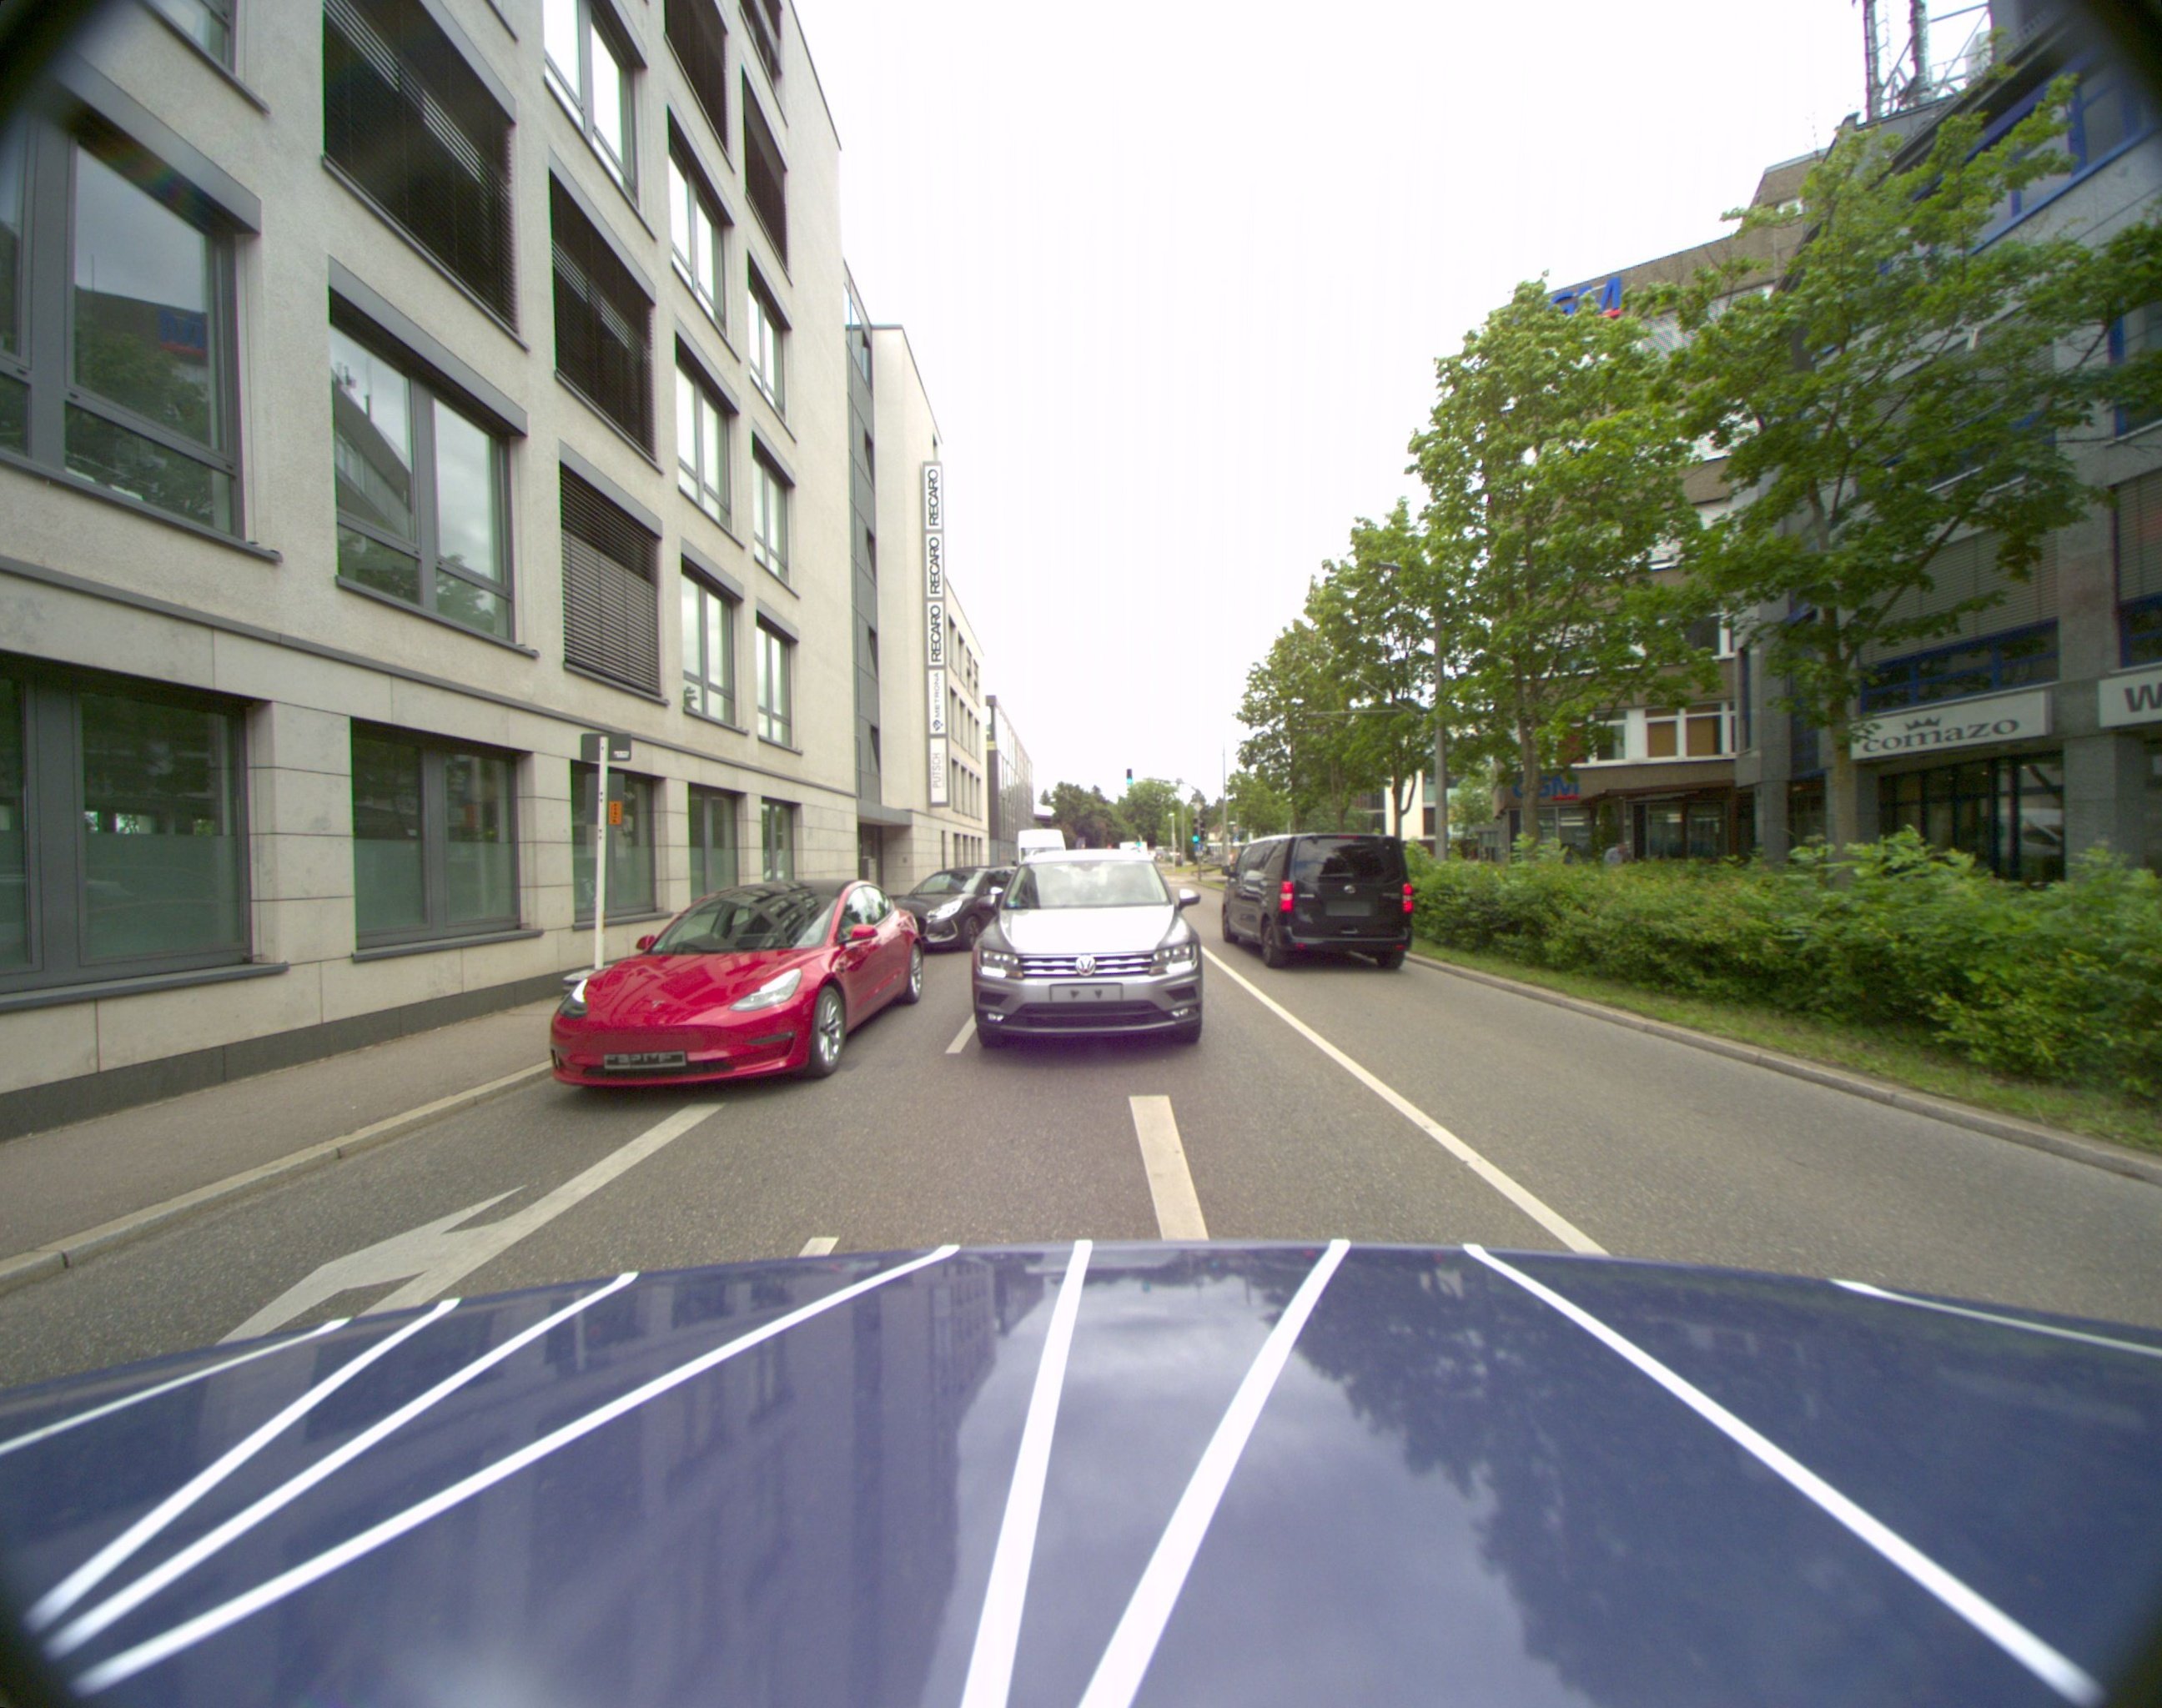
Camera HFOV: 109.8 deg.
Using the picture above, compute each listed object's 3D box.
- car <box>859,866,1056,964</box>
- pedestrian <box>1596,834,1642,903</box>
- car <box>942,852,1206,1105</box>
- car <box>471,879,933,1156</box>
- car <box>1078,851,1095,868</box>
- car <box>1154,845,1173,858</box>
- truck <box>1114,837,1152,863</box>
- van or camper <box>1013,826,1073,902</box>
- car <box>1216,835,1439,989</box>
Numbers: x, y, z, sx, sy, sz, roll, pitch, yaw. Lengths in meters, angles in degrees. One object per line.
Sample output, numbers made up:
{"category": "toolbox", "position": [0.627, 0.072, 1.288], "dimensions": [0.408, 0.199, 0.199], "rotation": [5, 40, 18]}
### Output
{"category": "car", "position": [-2.151, 1.046, 14.315], "dimensions": [1.742, 1.449, 3.740], "rotation": [-3, 0, 26]}
{"category": "pedestrian", "position": [14.495, 0.384, 20.494], "dimensions": [0.680, 1.795, 0.731], "rotation": [-2, 1, -4]}
{"category": "car", "position": [-0.013, 0.861, 7.503], "dimensions": [1.798, 1.716, 4.458], "rotation": [-1, 0, 1]}
{"category": "car", "position": [-2.736, 1.072, 6.824], "dimensions": [1.825, 1.449, 4.408], "rotation": [-3, 0, 1]}
{"category": "car", "position": [0.721, 0.623, 96.647], "dimensions": [1.998, 2.002, 4.000], "rotation": [-2, 1, 1]}
{"category": "car", "position": [13.926, -0.424, 128.339], "dimensions": [1.995, 2.002, 4.006], "rotation": [-1, 1, 24]}
{"category": "truck", "position": [8.133, -0.671, 117.247], "dimensions": [2.317, 3.626, 8.024], "rotation": [-1, 1, 31]}
{"category": "van or camper", "position": [-1.628, 0.317, 30.830], "dimensions": [2.113, 2.718, 6.148], "rotation": [-2, 1, -4]}
{"category": "car", "position": [3.504, 0.695, 11.899], "dimensions": [1.998, 1.936, 4.736], "rotation": [0, 1, 1]}
